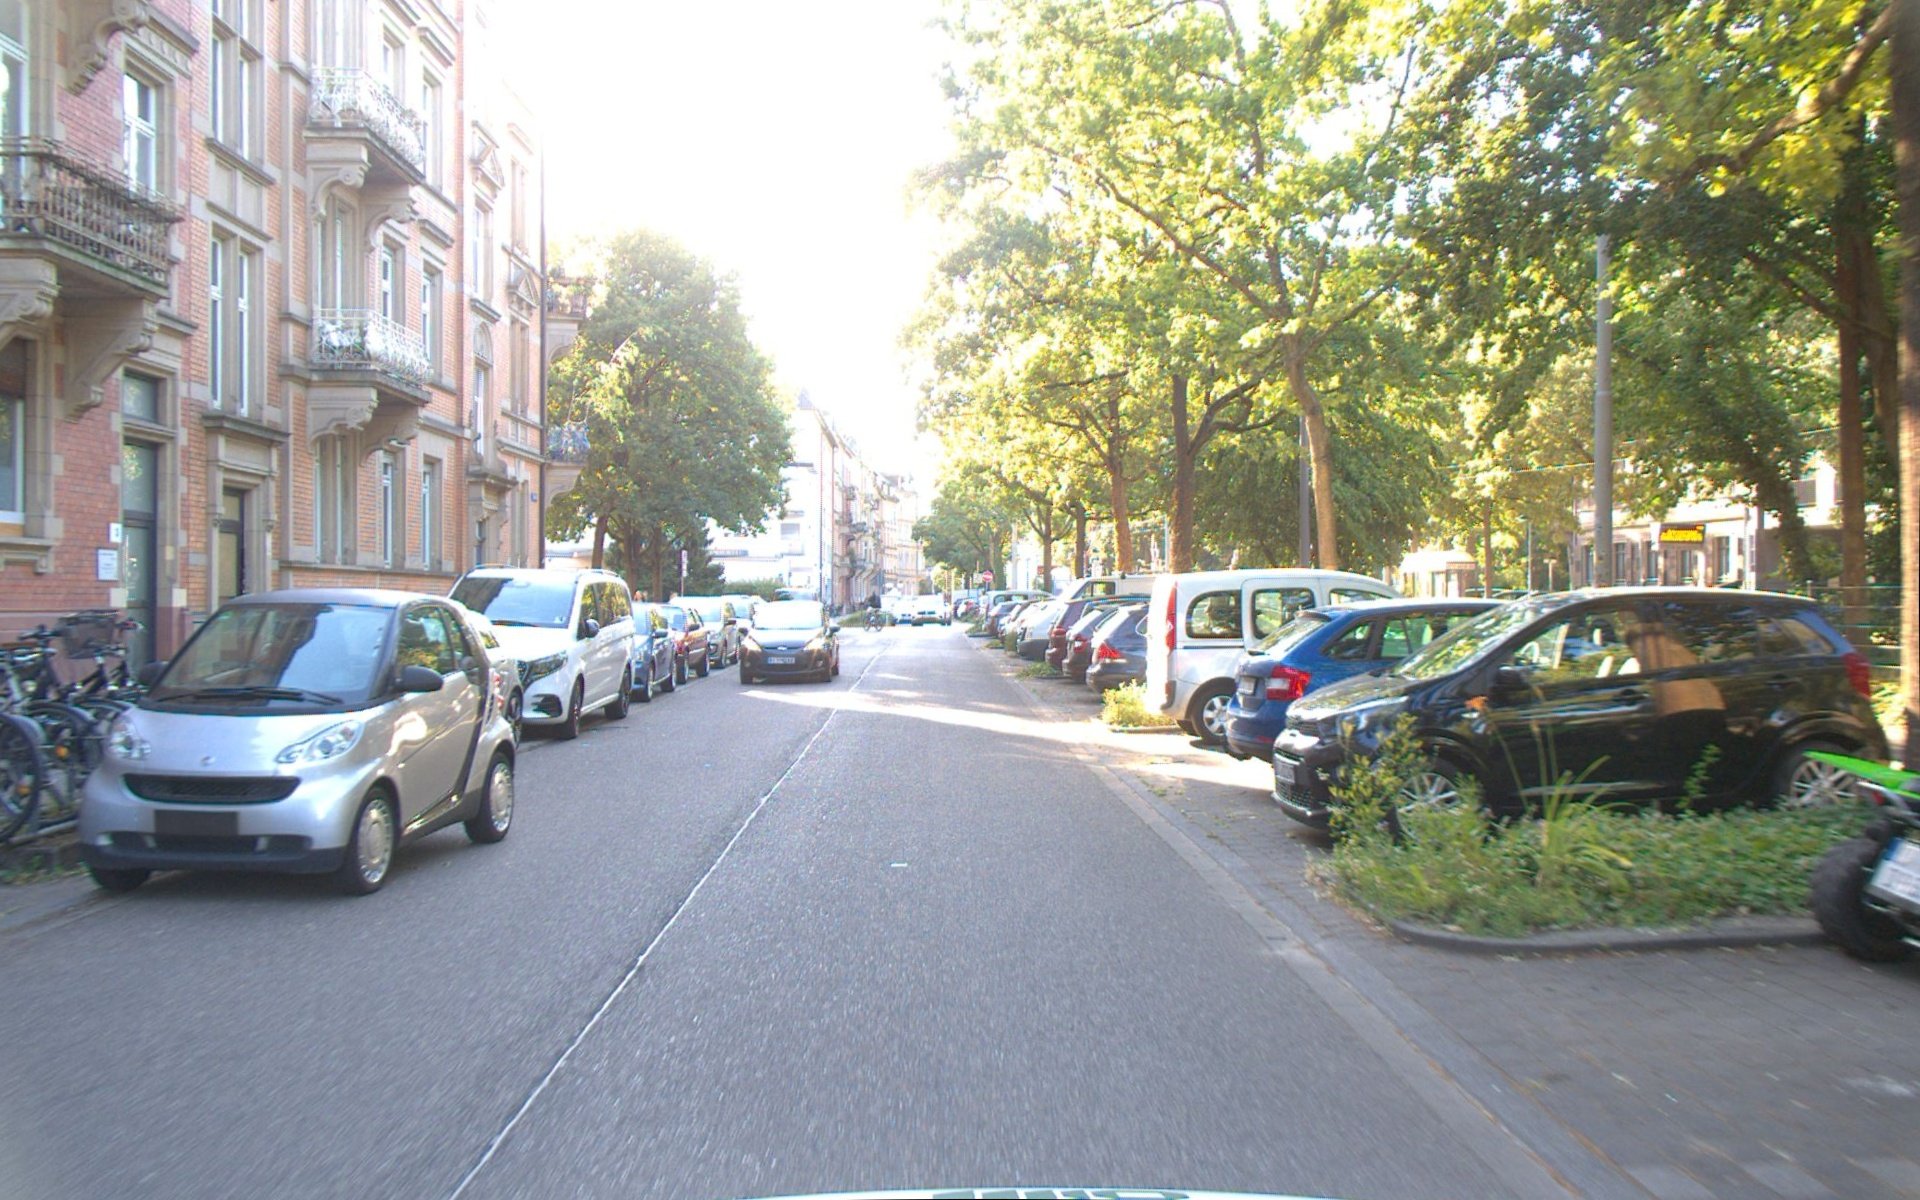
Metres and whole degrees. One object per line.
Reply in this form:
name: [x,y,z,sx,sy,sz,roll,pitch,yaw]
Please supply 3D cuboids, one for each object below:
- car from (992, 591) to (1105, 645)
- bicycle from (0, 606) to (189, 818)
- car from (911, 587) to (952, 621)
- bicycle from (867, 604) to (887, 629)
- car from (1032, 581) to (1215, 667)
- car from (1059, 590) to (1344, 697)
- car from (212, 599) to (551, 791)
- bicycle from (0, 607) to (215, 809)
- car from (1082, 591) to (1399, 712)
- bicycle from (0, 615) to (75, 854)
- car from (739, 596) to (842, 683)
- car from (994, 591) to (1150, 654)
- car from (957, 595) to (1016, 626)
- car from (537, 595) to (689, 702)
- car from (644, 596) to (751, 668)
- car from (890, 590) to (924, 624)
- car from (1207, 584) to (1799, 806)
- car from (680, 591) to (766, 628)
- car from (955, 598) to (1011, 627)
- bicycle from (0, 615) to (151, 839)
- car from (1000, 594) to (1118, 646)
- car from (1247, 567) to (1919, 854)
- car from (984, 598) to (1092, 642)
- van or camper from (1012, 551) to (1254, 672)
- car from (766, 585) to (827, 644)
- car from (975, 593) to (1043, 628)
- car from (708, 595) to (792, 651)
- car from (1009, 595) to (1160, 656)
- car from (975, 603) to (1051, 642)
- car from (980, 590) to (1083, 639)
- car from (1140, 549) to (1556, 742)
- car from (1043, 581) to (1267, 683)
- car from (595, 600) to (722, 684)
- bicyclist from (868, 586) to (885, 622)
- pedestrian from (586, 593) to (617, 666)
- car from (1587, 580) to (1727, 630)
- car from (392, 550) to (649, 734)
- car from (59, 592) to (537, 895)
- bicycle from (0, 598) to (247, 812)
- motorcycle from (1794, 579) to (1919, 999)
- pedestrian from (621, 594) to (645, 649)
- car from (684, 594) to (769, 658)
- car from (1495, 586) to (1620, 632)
car: [3.195,0.664,60.338,3.908,1.857,1.857,1,-2,-4]
bicycle: [-5.646,0.658,9.969,1.727,1.236,0.464,1,-2,-2]
car: [-1.496,0.216,88.631,1.741,1.703,4.489,1,0,5]
bicycle: [-3.814,0.773,75.550,0.630,1.119,1.938,1,-2,-11]
car: [3.710,0.544,37.980,3.908,1.849,1.858,1,0,-4]
car: [3.684,0.655,25.775,4.134,1.478,1.864,-2,0,0]
car: [-5.133,0.756,15.296,1.640,1.480,4.209,-1,0,0]
bicycle: [-5.707,0.673,10.478,1.727,1.236,0.428,1,-2,-2]
car: [3.792,0.689,22.882,4.132,1.478,1.649,-2,0,3]
bicycle: [-5.781,0.679,8.533,2.055,1.236,0.439,2,-2,-17]
car: [-3.133,0.693,31.208,1.635,1.489,3.998,-1,0,-2]
car: [3.228,0.672,48.014,4.303,1.729,1.857,1,-2,-4]
car: [1.881,0.731,116.289,3.902,2.049,2.001,1,-2,10]
car: [-5.395,0.707,26.125,1.636,1.512,3.998,2,0,-2]
car: [-5.780,0.677,36.786,1.669,1.454,3.877,2,0,0]
car: [-3.150,0.426,97.637,1.953,1.870,3.998,1,-2,-2]
car: [4.100,0.680,12.899,4.001,1.468,1.760,-2,0,-4]
car: [-11.671,0.491,81.727,3.905,1.736,2.000,1,-2,0]
car: [1.725,0.934,123.142,3.902,2.049,2.001,1,-2,10]
bicycle: [-5.620,0.705,9.452,1.727,1.236,0.441,1,-2,-2]
car: [3.448,0.728,58.045,3.908,1.729,1.857,1,-2,-4]
car: [3.768,0.629,10.352,3.599,1.528,1.761,-2,0,0]
car: [2.939,0.767,63.005,3.908,1.591,1.857,1,-2,-4]
van or camper: [3.637,0.271,35.415,4.882,2.419,2.183,1,-2,-3]
car: [-6.050,0.521,61.507,1.918,2.053,4.266,1,0,-2]
car: [3.052,0.650,102.717,3.902,2.049,2.001,1,-2,10]
car: [-5.953,0.633,47.316,1.720,1.491,4.269,1,0,2]
car: [3.385,0.713,45.400,3.908,1.575,1.857,1,-2,-4]
car: [2.942,1.245,91.614,3.902,2.049,2.001,1,-2,10]
car: [2.804,0.578,65.677,3.908,1.825,1.857,1,-2,-4]
car: [4.172,0.479,18.243,4.134,1.896,1.761,-2,0,0]
car: [3.574,0.570,30.850,3.905,1.721,1.859,-2,0,0]
car: [-5.638,0.740,31.352,1.636,1.454,4.240,1,0,-1]
bicyclist: [-3.816,0.194,75.607,0.616,1.601,0.799,1,-2,-12]
pedestrian: [-8.538,0.690,39.378,0.585,1.697,0.708,0,2,-2]
car: [25.081,0.196,59.635,4.604,1.713,1.999,0,-2,23]
car: [-5.229,0.531,20.449,1.953,1.955,5.037,1,-2,-2]
car: [-3.594,0.701,9.460,1.472,1.460,2.754,-1,0,3]
bicycle: [-5.737,0.688,11.001,1.727,1.371,0.495,1,-2,-2]
motorcycle: [4.323,0.694,6.144,1.822,1.488,1.264,1,-2,0]
pedestrian: [-9.692,0.634,49.055,0.585,1.577,0.708,0,2,-2]
car: [-5.971,0.650,42.737,1.721,1.542,4.160,1,0,-2]
car: [23.676,0.350,65.581,4.603,1.713,2.000,0,-2,22]
